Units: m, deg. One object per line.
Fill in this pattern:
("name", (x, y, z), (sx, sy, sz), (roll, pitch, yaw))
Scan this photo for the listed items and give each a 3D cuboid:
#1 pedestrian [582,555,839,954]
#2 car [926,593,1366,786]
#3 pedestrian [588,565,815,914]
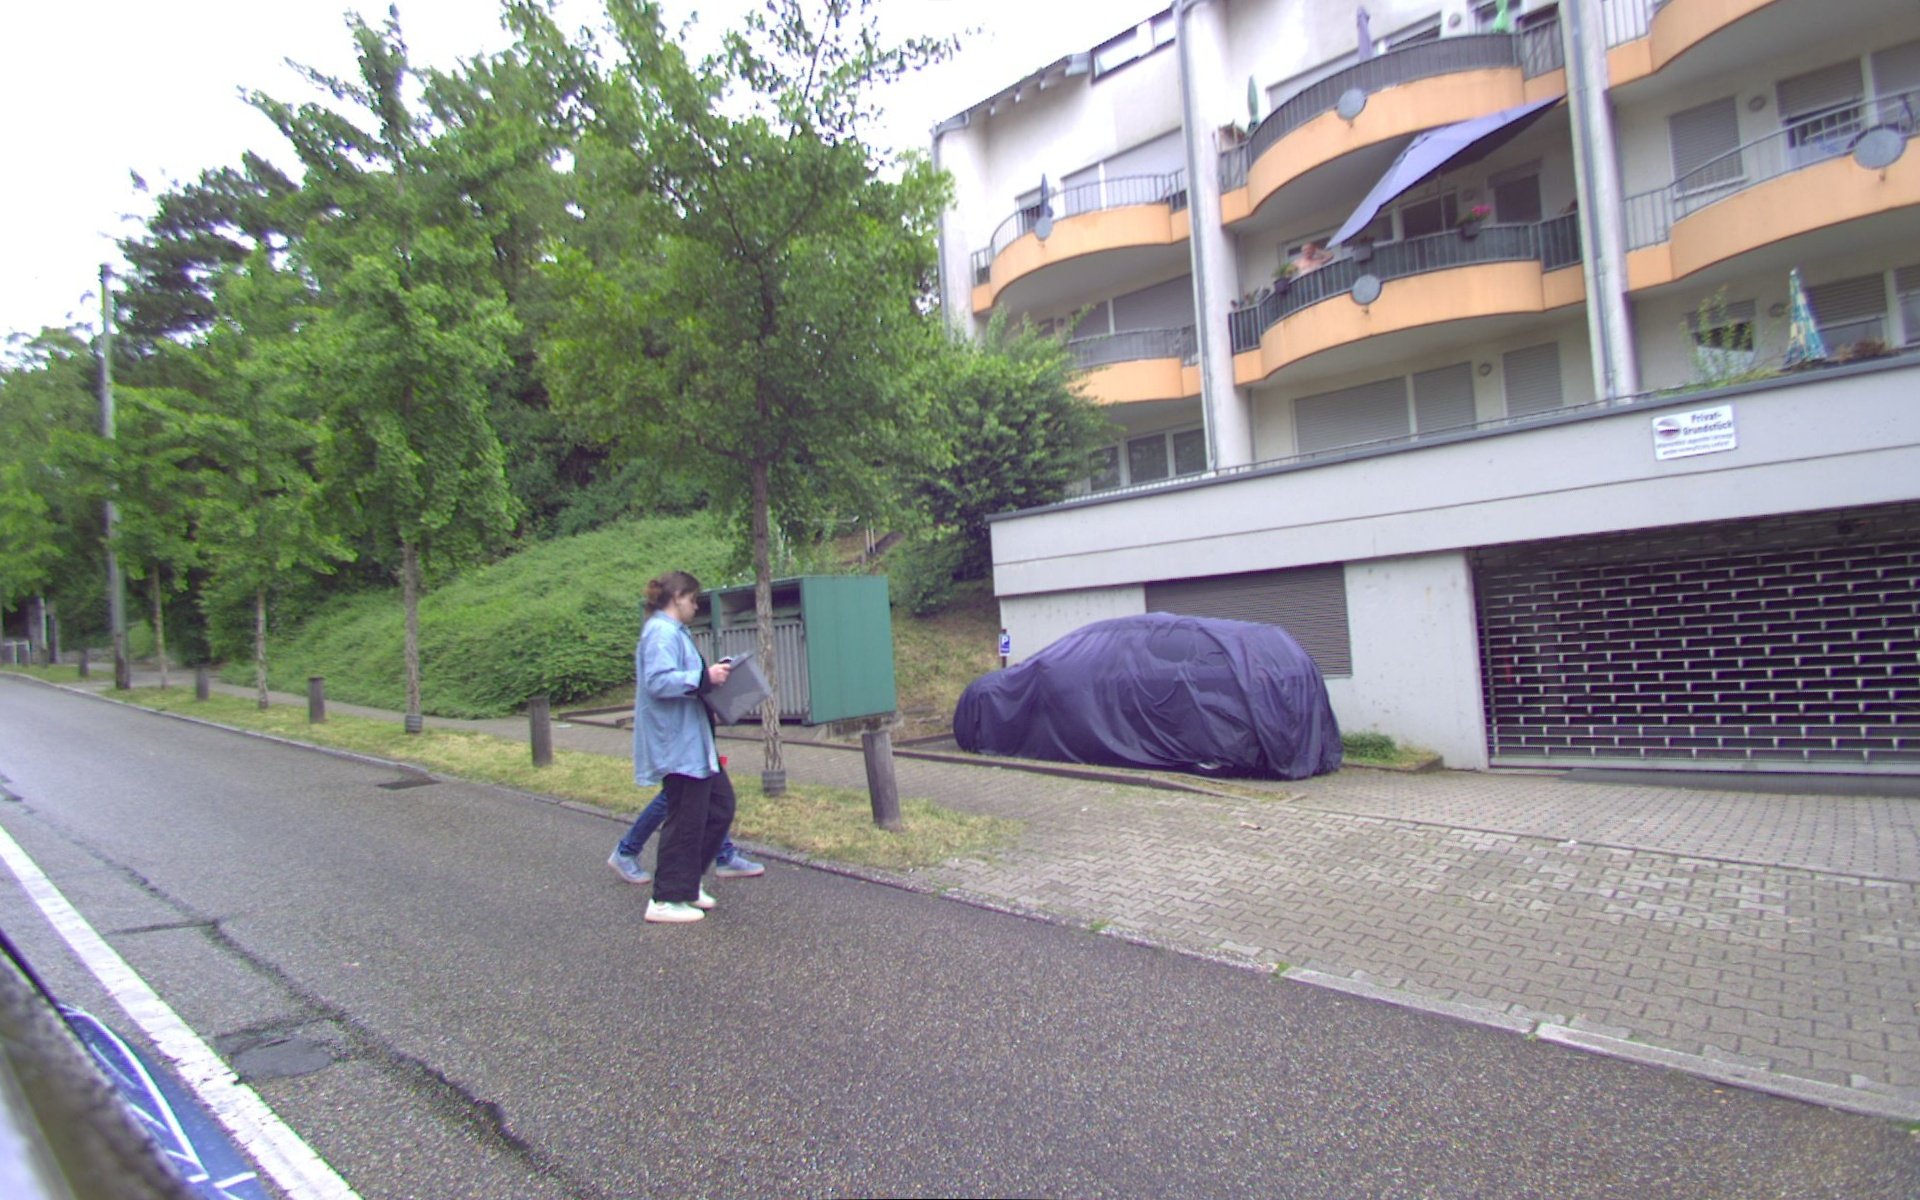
("pedestrian", (-1.299, 0.693, 5.213), (1.055, 1.795, 0.827), (-3, 1, -27))
("car", (1.759, 0.829, 10.328), (4.096, 1.573, 1.759), (-2, -5, 41))
("pedestrian", (-1.505, 0.731, 5.893), (1.072, 1.795, 0.813), (-1, -2, 40))
